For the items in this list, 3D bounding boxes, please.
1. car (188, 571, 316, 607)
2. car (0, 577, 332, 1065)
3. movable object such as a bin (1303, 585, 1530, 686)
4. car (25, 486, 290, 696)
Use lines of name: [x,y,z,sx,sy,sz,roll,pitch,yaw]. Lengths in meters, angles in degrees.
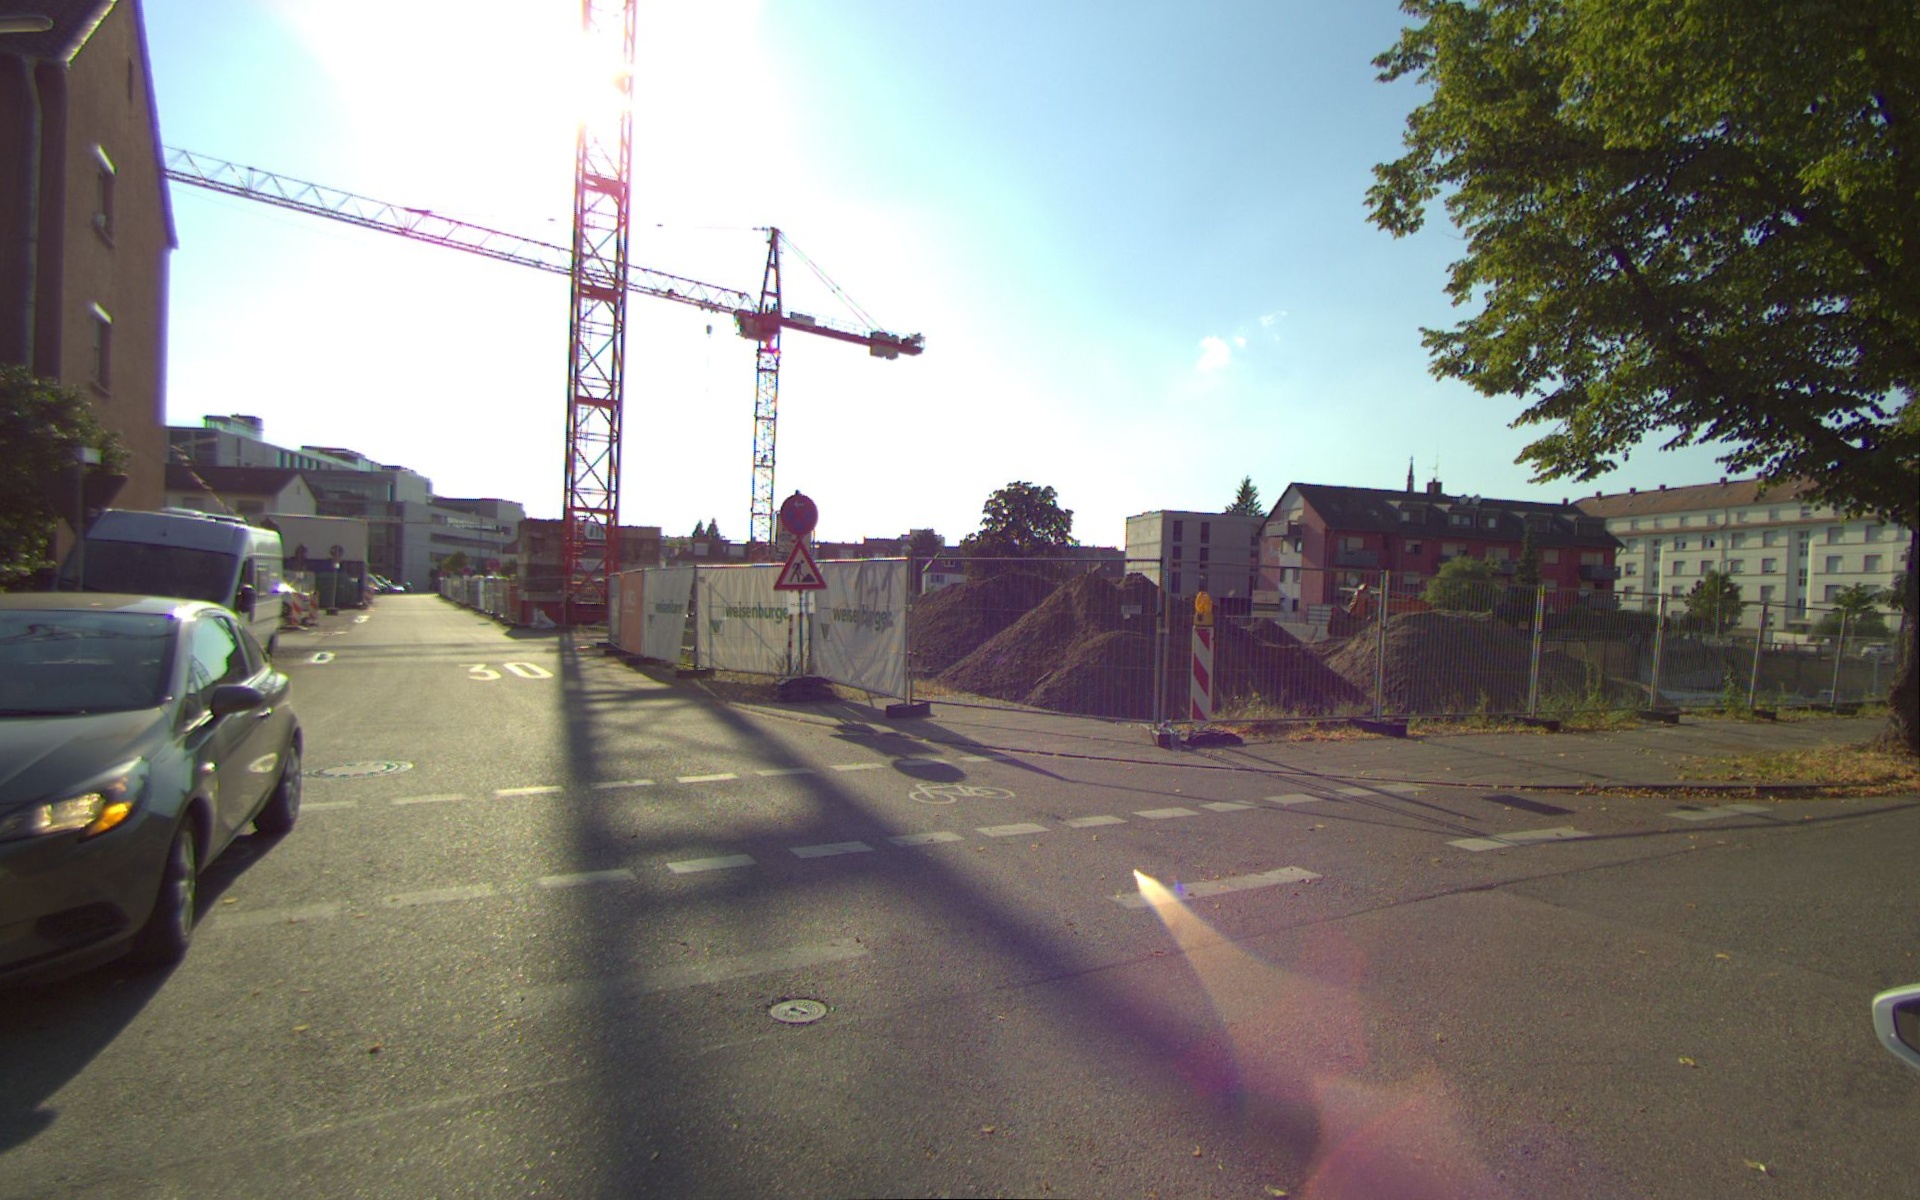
car: [-30.985,-0.447,44.131,4.306,1.360,1.986,2,0,-27]
car: [-4.241,0.683,4.770,1.629,1.493,3.832,2,1,-25]
movable object such as a bin: [24.716,1.981,54.540,11.348,5.058,3.016,2,-2,-8]
car: [-11.434,-0.047,14.787,2.144,2.500,5.283,2,-2,-30]
